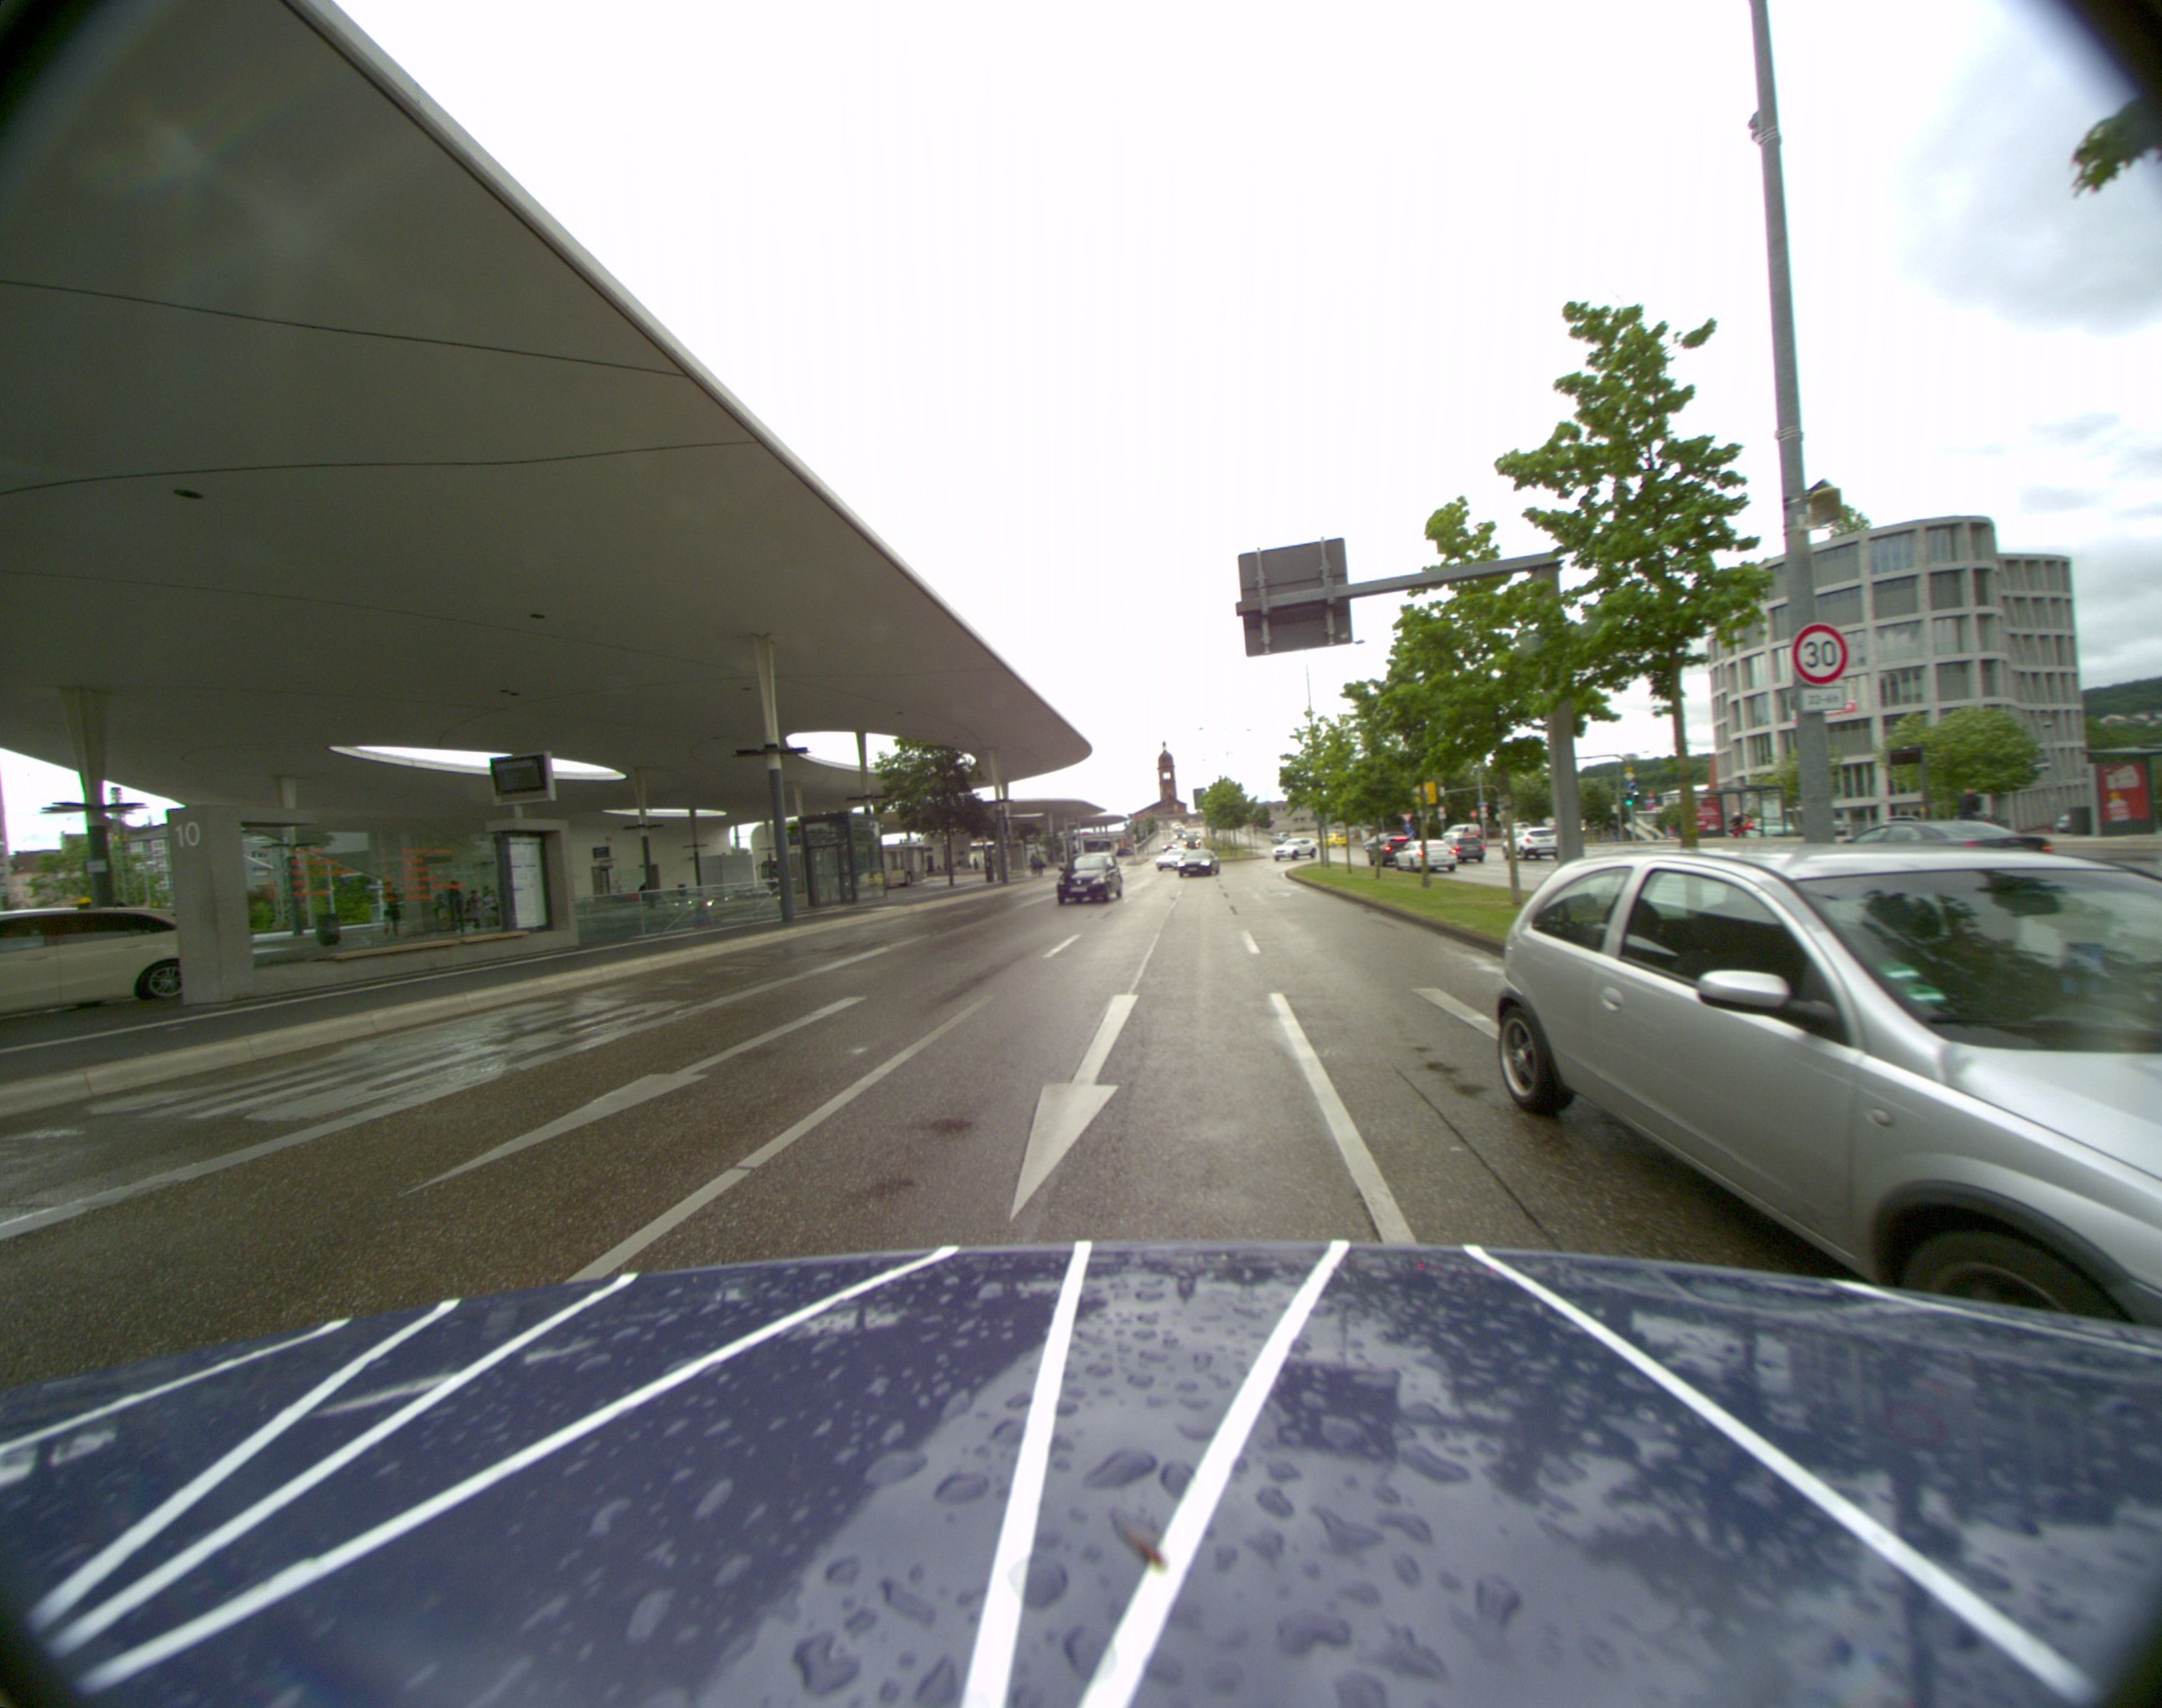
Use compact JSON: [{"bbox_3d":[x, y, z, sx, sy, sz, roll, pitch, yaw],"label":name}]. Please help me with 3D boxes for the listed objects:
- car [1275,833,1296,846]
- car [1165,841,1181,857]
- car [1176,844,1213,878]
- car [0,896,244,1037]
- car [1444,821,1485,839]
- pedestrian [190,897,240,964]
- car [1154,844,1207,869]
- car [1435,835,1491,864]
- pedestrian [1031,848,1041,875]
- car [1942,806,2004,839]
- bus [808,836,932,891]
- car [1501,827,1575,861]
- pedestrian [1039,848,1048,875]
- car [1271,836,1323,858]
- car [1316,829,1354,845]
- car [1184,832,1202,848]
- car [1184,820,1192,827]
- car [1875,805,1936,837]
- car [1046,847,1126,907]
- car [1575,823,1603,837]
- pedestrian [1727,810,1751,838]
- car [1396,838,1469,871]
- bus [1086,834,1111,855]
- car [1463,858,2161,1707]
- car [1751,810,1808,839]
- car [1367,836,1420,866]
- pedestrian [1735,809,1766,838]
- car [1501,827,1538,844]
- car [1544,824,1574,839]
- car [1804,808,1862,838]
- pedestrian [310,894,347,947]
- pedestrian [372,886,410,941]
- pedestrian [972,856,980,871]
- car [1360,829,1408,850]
[{"bbox_3d":[28.337,-1.965,105.331,1.875,1.624,4.158,-3,0,3],"label":"car"},{"bbox_3d":[12.248,-0.733,101.595,1.997,2.002,4.001,-2,1,7],"label":"car"},{"bbox_3d":[6.361,0.364,42.350,1.874,1.692,4.159,-2,1,9],"label":"car"},{"bbox_3d":[-15.176,1.606,10.409,1.997,1.671,4.544,-2,1,10],"label":"car"},{"bbox_3d":[38.325,-2.368,75.931,4.164,1.625,1.872,-3,1,-34],"label":"car"},{"bbox_3d":[-20.381,1.792,17.881,0.478,1.505,0.535,-3,1,13],"label":"pedestrian"},{"bbox_3d":[7.205,0.164,54.696,1.807,1.550,4.057,-1,1,40],"label":"car"},{"bbox_3d":[21.053,-0.308,42.033,1.697,1.457,4.455,-2,1,12],"label":"car"},{"bbox_3d":[-2.969,0.478,50.136,0.445,1.754,0.537,-3,1,3],"label":"pedestrian"},{"bbox_3d":[49.902,-1.768,42.490,4.164,1.692,1.872,-3,1,-35],"label":"car"},{"bbox_3d":[-13.243,0.516,49.449,2.874,3.064,11.930,-2,0,10],"label":"bus"},{"bbox_3d":[23.846,-0.560,39.800,1.959,1.609,4.211,-2,1,11],"label":"car"},{"bbox_3d":[-2.478,0.466,50.123,0.446,1.754,0.537,-3,1,-2],"label":"pedestrian"},{"bbox_3d":[17.497,-0.559,61.436,4.308,1.625,1.872,-3,1,-39],"label":"car"},{"bbox_3d":[29.306,-1.891,87.698,1.879,1.624,4.150,-3,1,-23],"label":"car"},{"bbox_3d":[15.302,-1.946,103.924,1.998,2.002,4.000,-2,1,4],"label":"car"},{"bbox_3d":[24.850,-7.104,176.654,1.648,1.552,3.650,-2,1,4],"label":"car"},{"bbox_3d":[48.168,-1.955,44.363,4.164,1.692,1.872,-3,1,-35],"label":"car"},{"bbox_3d":[0.252,0.695,23.929,1.874,1.691,4.161,-2,-1,9],"label":"car"},{"bbox_3d":[66.674,-3.185,99.686,4.225,1.704,1.890,-3,1,-40],"label":"car"},{"bbox_3d":[35.449,-1.617,40.916,0.732,1.481,0.735,-2,1,18],"label":"pedestrian"},{"bbox_3d":[16.091,0.001,35.042,2.008,1.345,4.167,-2,1,10],"label":"car"},{"bbox_3d":[2.644,-1.463,118.782,3.582,3.080,10.754,-3,0,1],"label":"bus"},{"bbox_3d":[2.913,0.823,2.659,1.698,1.457,3.722,-2,1,8],"label":"car"},{"bbox_3d":[44.992,-1.886,48.927,4.164,1.692,1.872,-3,1,-35],"label":"car"},{"bbox_3d":[17.314,-0.215,42.283,2.008,1.545,4.167,-2,1,12],"label":"car"},{"bbox_3d":[35.230,-1.593,39.981,0.982,1.481,0.735,-2,1,19],"label":"pedestrian"},{"bbox_3d":[47.977,-1.990,83.168,4.292,1.624,1.872,-3,1,-36],"label":"car"},{"bbox_3d":[57.058,-2.684,90.718,4.165,1.624,1.872,-3,1,-41],"label":"car"},{"bbox_3d":[46.376,-1.908,46.834,4.164,1.692,1.872,-3,1,-35],"label":"car"},{"bbox_3d":[-22.188,1.960,22.398,0.478,1.505,0.526,-3,1,13],"label":"pedestrian"},{"bbox_3d":[-19.776,1.706,21.780,0.478,1.505,0.535,-3,1,13],"label":"pedestrian"},{"bbox_3d":[-14.186,1.238,102.546,1.025,2.002,0.879,-3,1,-10],"label":"pedestrian"},{"bbox_3d":[26.965,-1.297,67.624,4.164,1.625,1.872,-3,1,-34],"label":"car"}]
